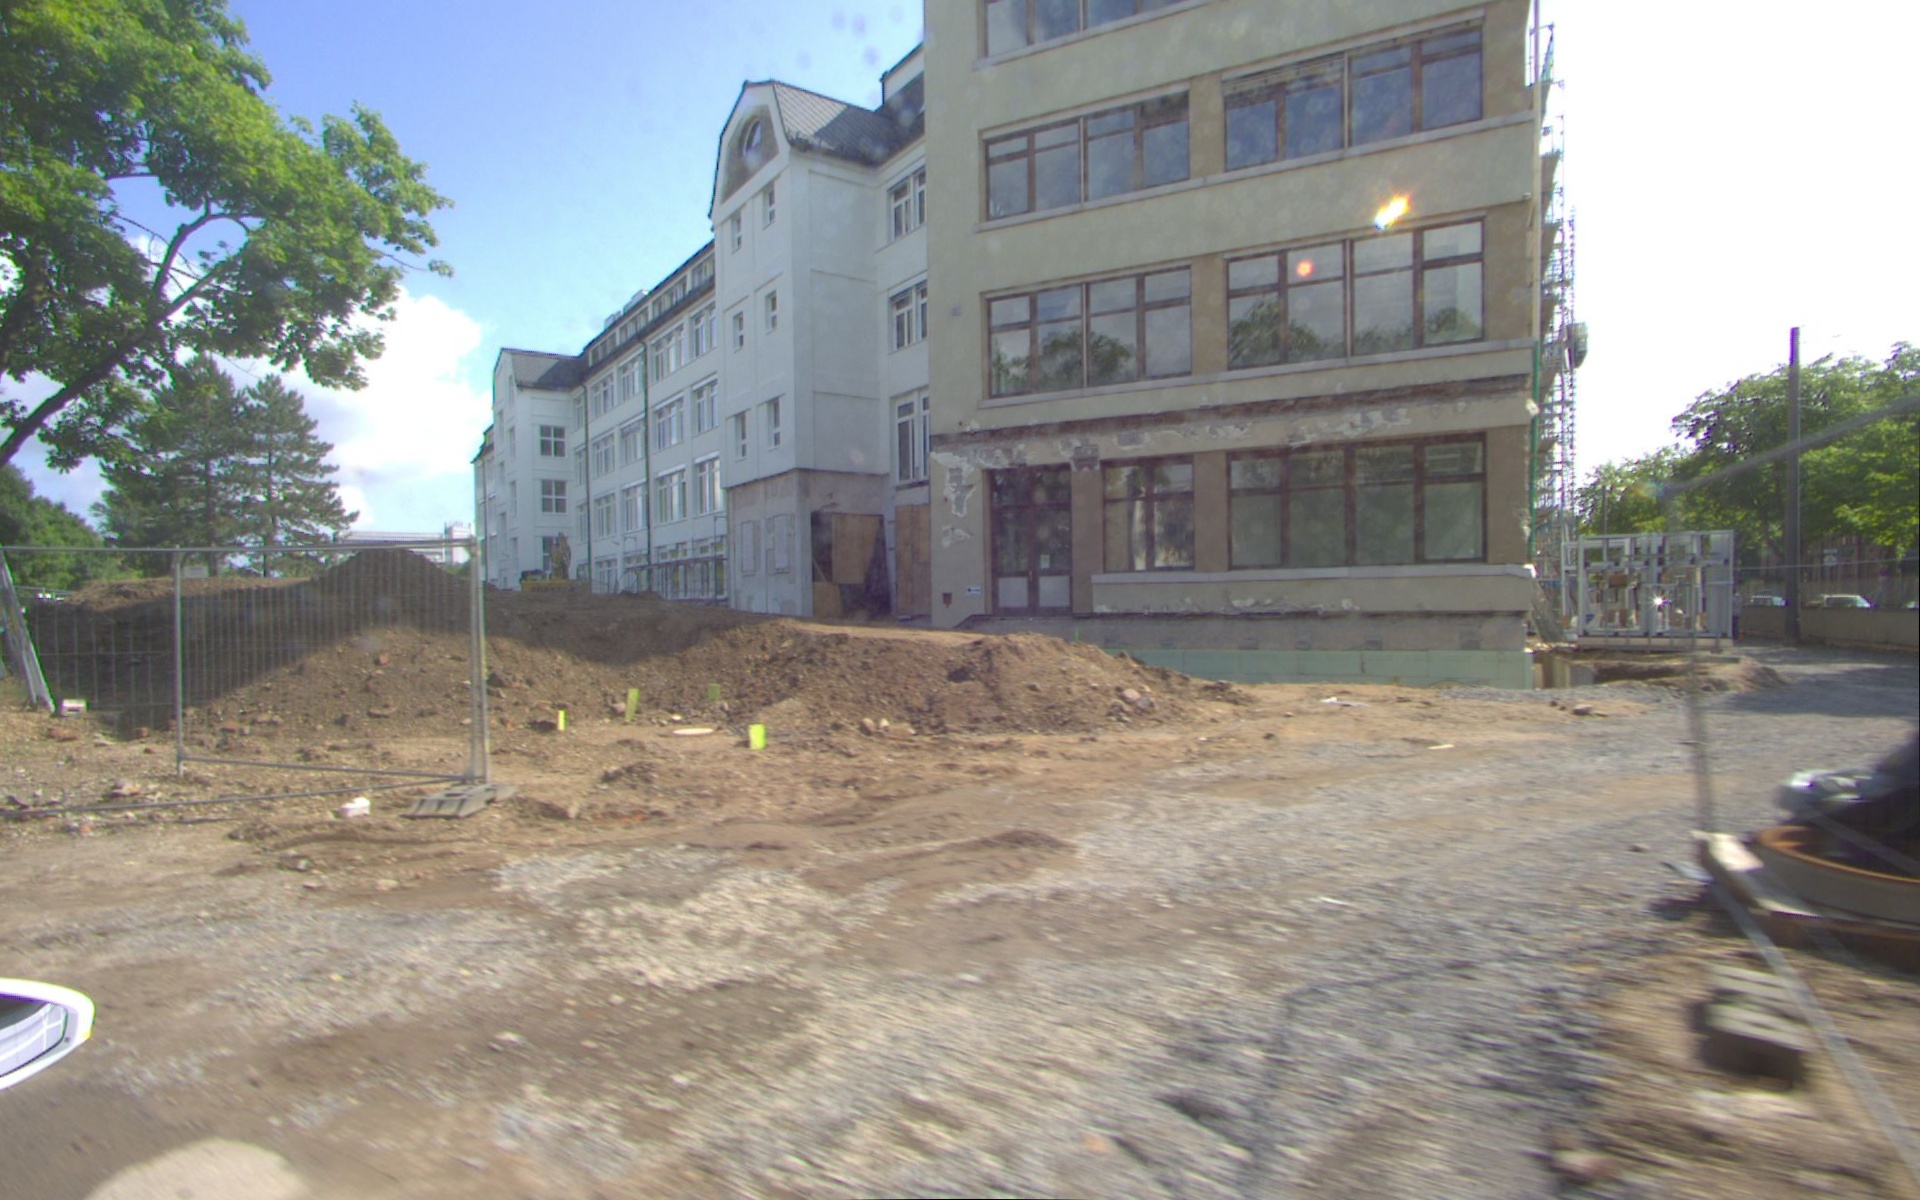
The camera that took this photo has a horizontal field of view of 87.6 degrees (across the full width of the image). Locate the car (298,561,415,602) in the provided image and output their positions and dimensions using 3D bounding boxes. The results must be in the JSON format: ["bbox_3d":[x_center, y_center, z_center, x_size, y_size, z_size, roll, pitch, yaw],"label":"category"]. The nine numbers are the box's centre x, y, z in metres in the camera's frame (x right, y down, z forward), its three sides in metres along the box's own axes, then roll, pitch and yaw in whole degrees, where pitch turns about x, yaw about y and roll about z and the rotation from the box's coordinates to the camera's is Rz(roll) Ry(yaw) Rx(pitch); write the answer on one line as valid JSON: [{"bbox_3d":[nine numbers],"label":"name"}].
[{"bbox_3d":[-29.928,-0.875,49.721,4.809,1.444,1.834,5,-7,-35],"label":"car"}]
